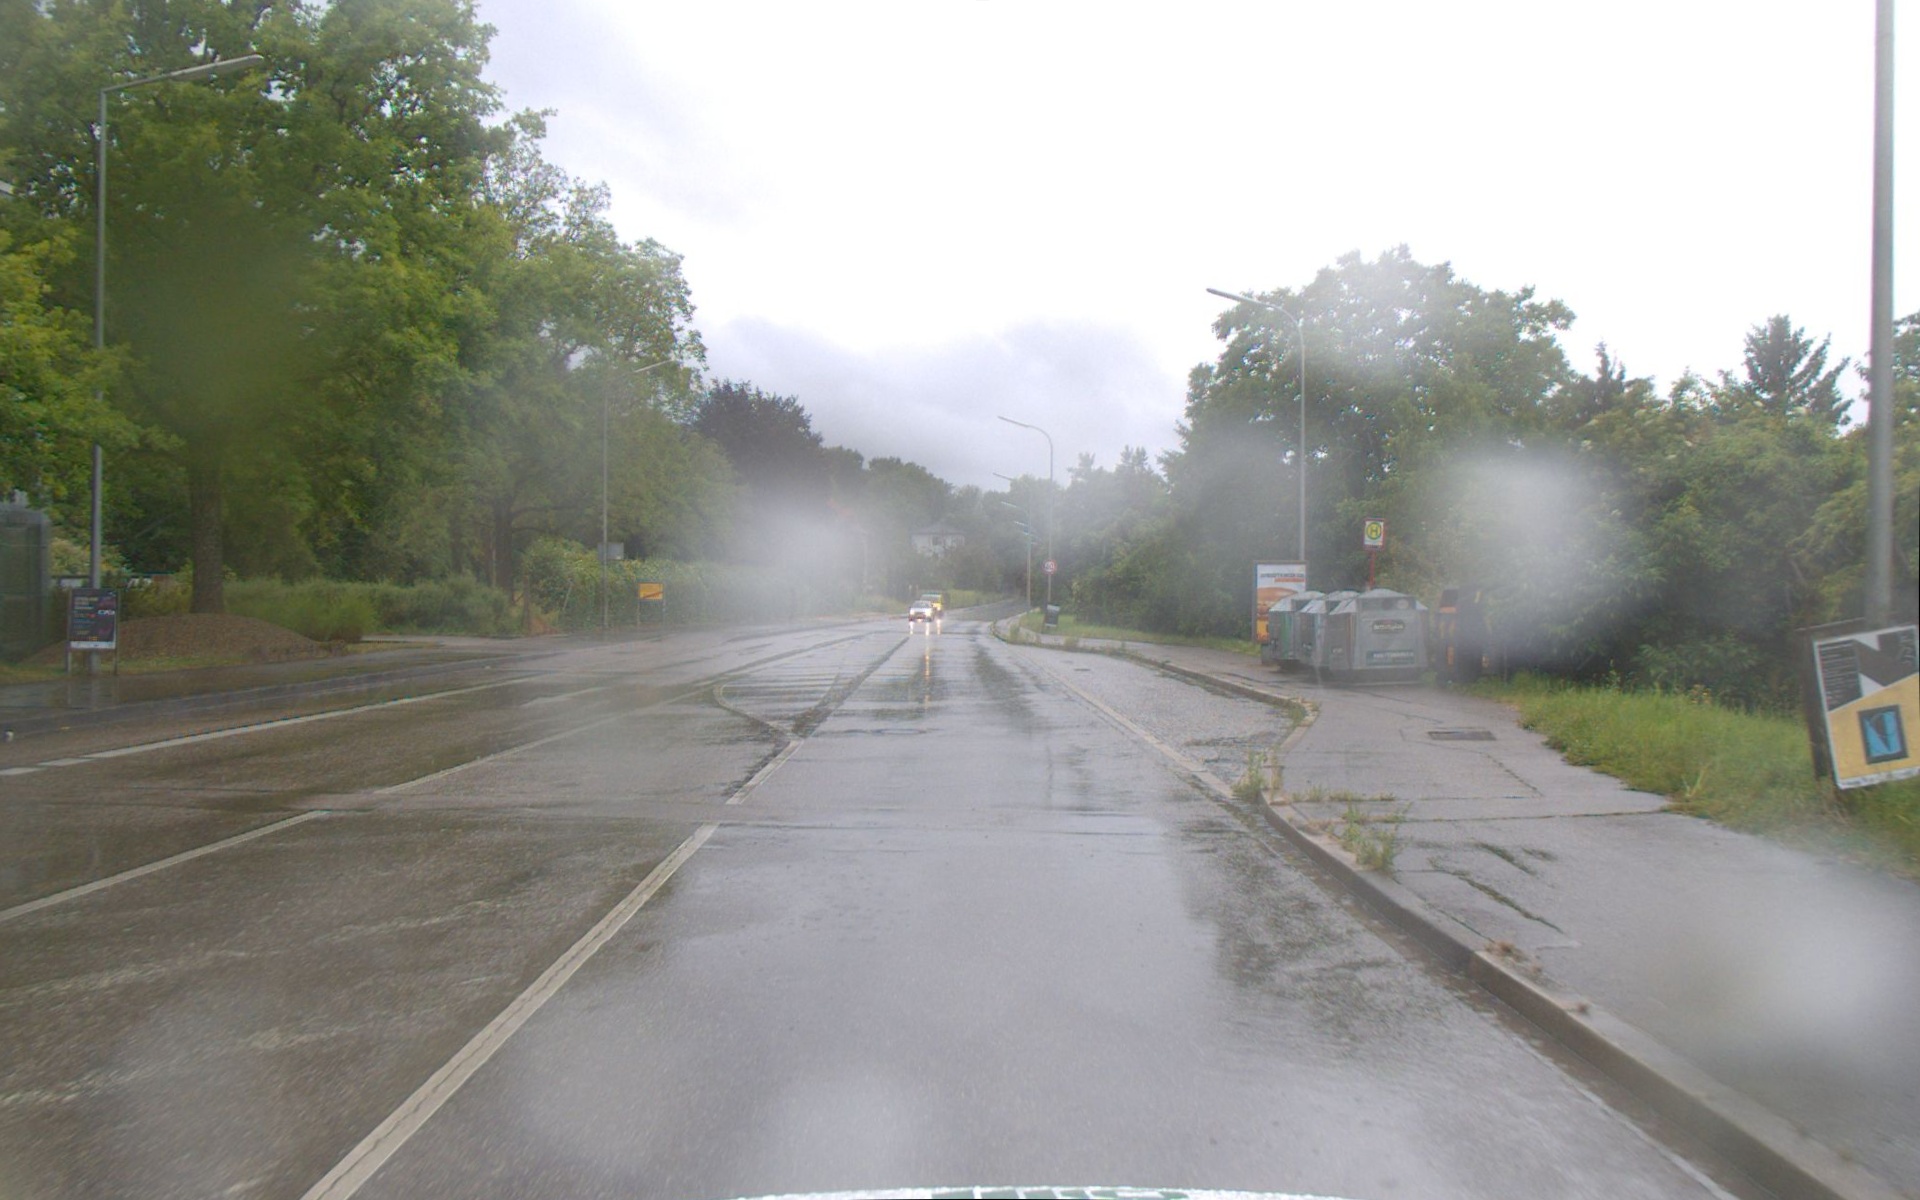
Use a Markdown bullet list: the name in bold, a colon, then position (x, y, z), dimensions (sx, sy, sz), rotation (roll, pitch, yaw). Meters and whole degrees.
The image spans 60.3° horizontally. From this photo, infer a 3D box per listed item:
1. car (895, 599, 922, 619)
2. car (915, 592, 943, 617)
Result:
- **car**: position (-3.596, 0.594, 115.536), dimensions (1.666, 1.373, 3.905), rotation (1, 0, 1)
- **car**: position (-2.466, 0.337, 132.505), dimensions (1.897, 1.904, 5.037), rotation (1, 0, 2)
